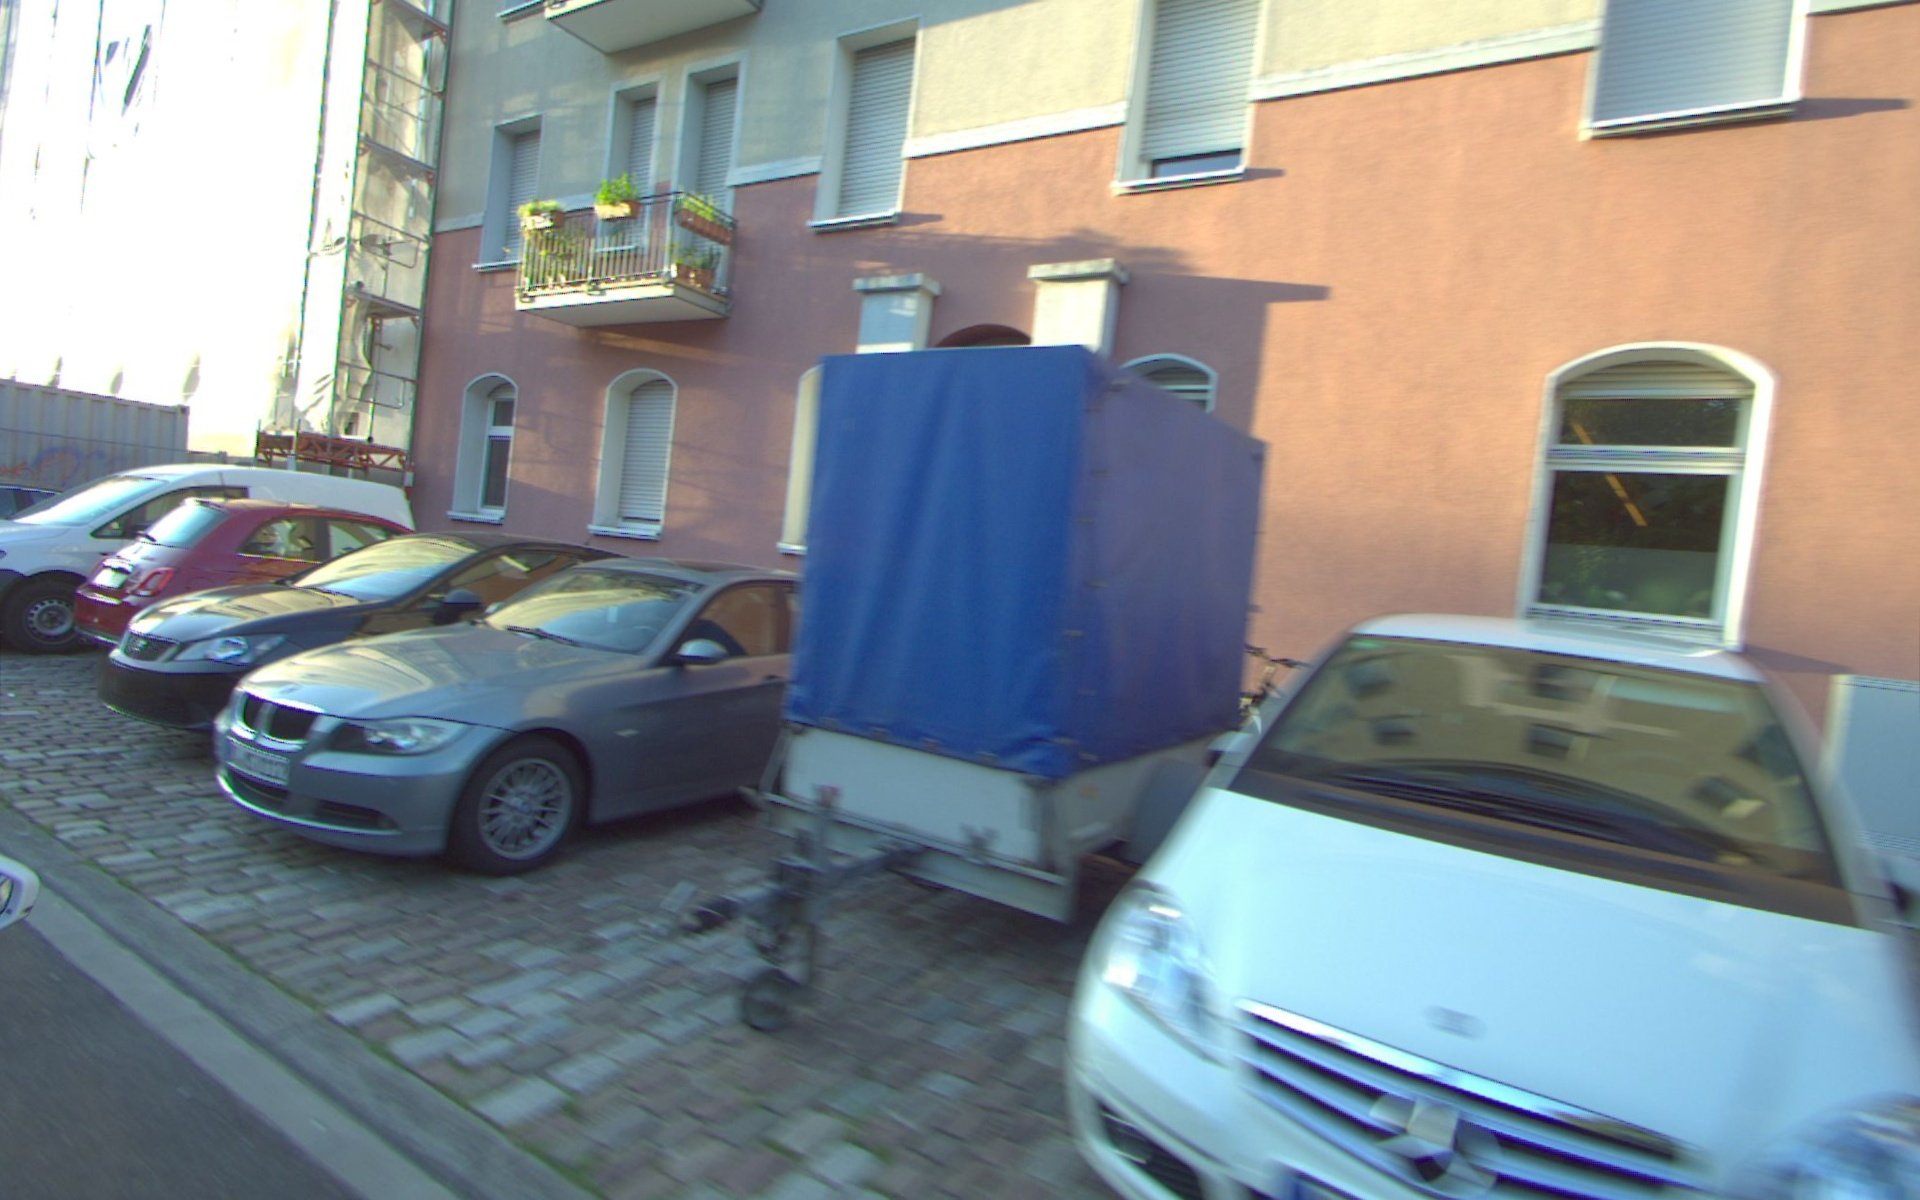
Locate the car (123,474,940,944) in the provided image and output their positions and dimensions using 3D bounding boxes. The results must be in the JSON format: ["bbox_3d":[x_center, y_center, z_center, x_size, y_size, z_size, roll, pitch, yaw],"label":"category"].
[{"bbox_3d":[-2.000,0.474,5.909,1.870,1.658,3.994,7,0,29],"label":"car"}]

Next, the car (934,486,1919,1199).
[{"bbox_3d":[1.848,0.828,3.504,1.966,1.749,3.992,6,-1,30],"label":"car"}]

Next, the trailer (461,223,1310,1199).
[{"bbox_3d":[0.105,0.238,4.442,1.907,2.368,3.569,7,3,29],"label":"trailer"}]

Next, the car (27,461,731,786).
[{"bbox_3d":[-3.743,0.187,7.270,1.758,1.591,3.971,7,0,29],"label":"car"}]

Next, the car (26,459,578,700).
[{"bbox_3d":[-5.614,-0.082,9.073,1.715,1.630,3.698,7,0,30],"label":"car"}]

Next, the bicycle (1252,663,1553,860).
[{"bbox_3d":[3.220,1.128,7.420,1.872,1.074,0.516,7,1,30],"label":"bicycle"}]

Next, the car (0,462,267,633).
[{"bbox_3d":[-10.360,-0.650,10.957,1.841,1.635,4.156,7,0,33],"label":"car"}]

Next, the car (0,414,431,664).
[{"bbox_3d":[-7.833,-0.575,9.966,1.789,2.007,4.271,8,3,24],"label":"car"}]
